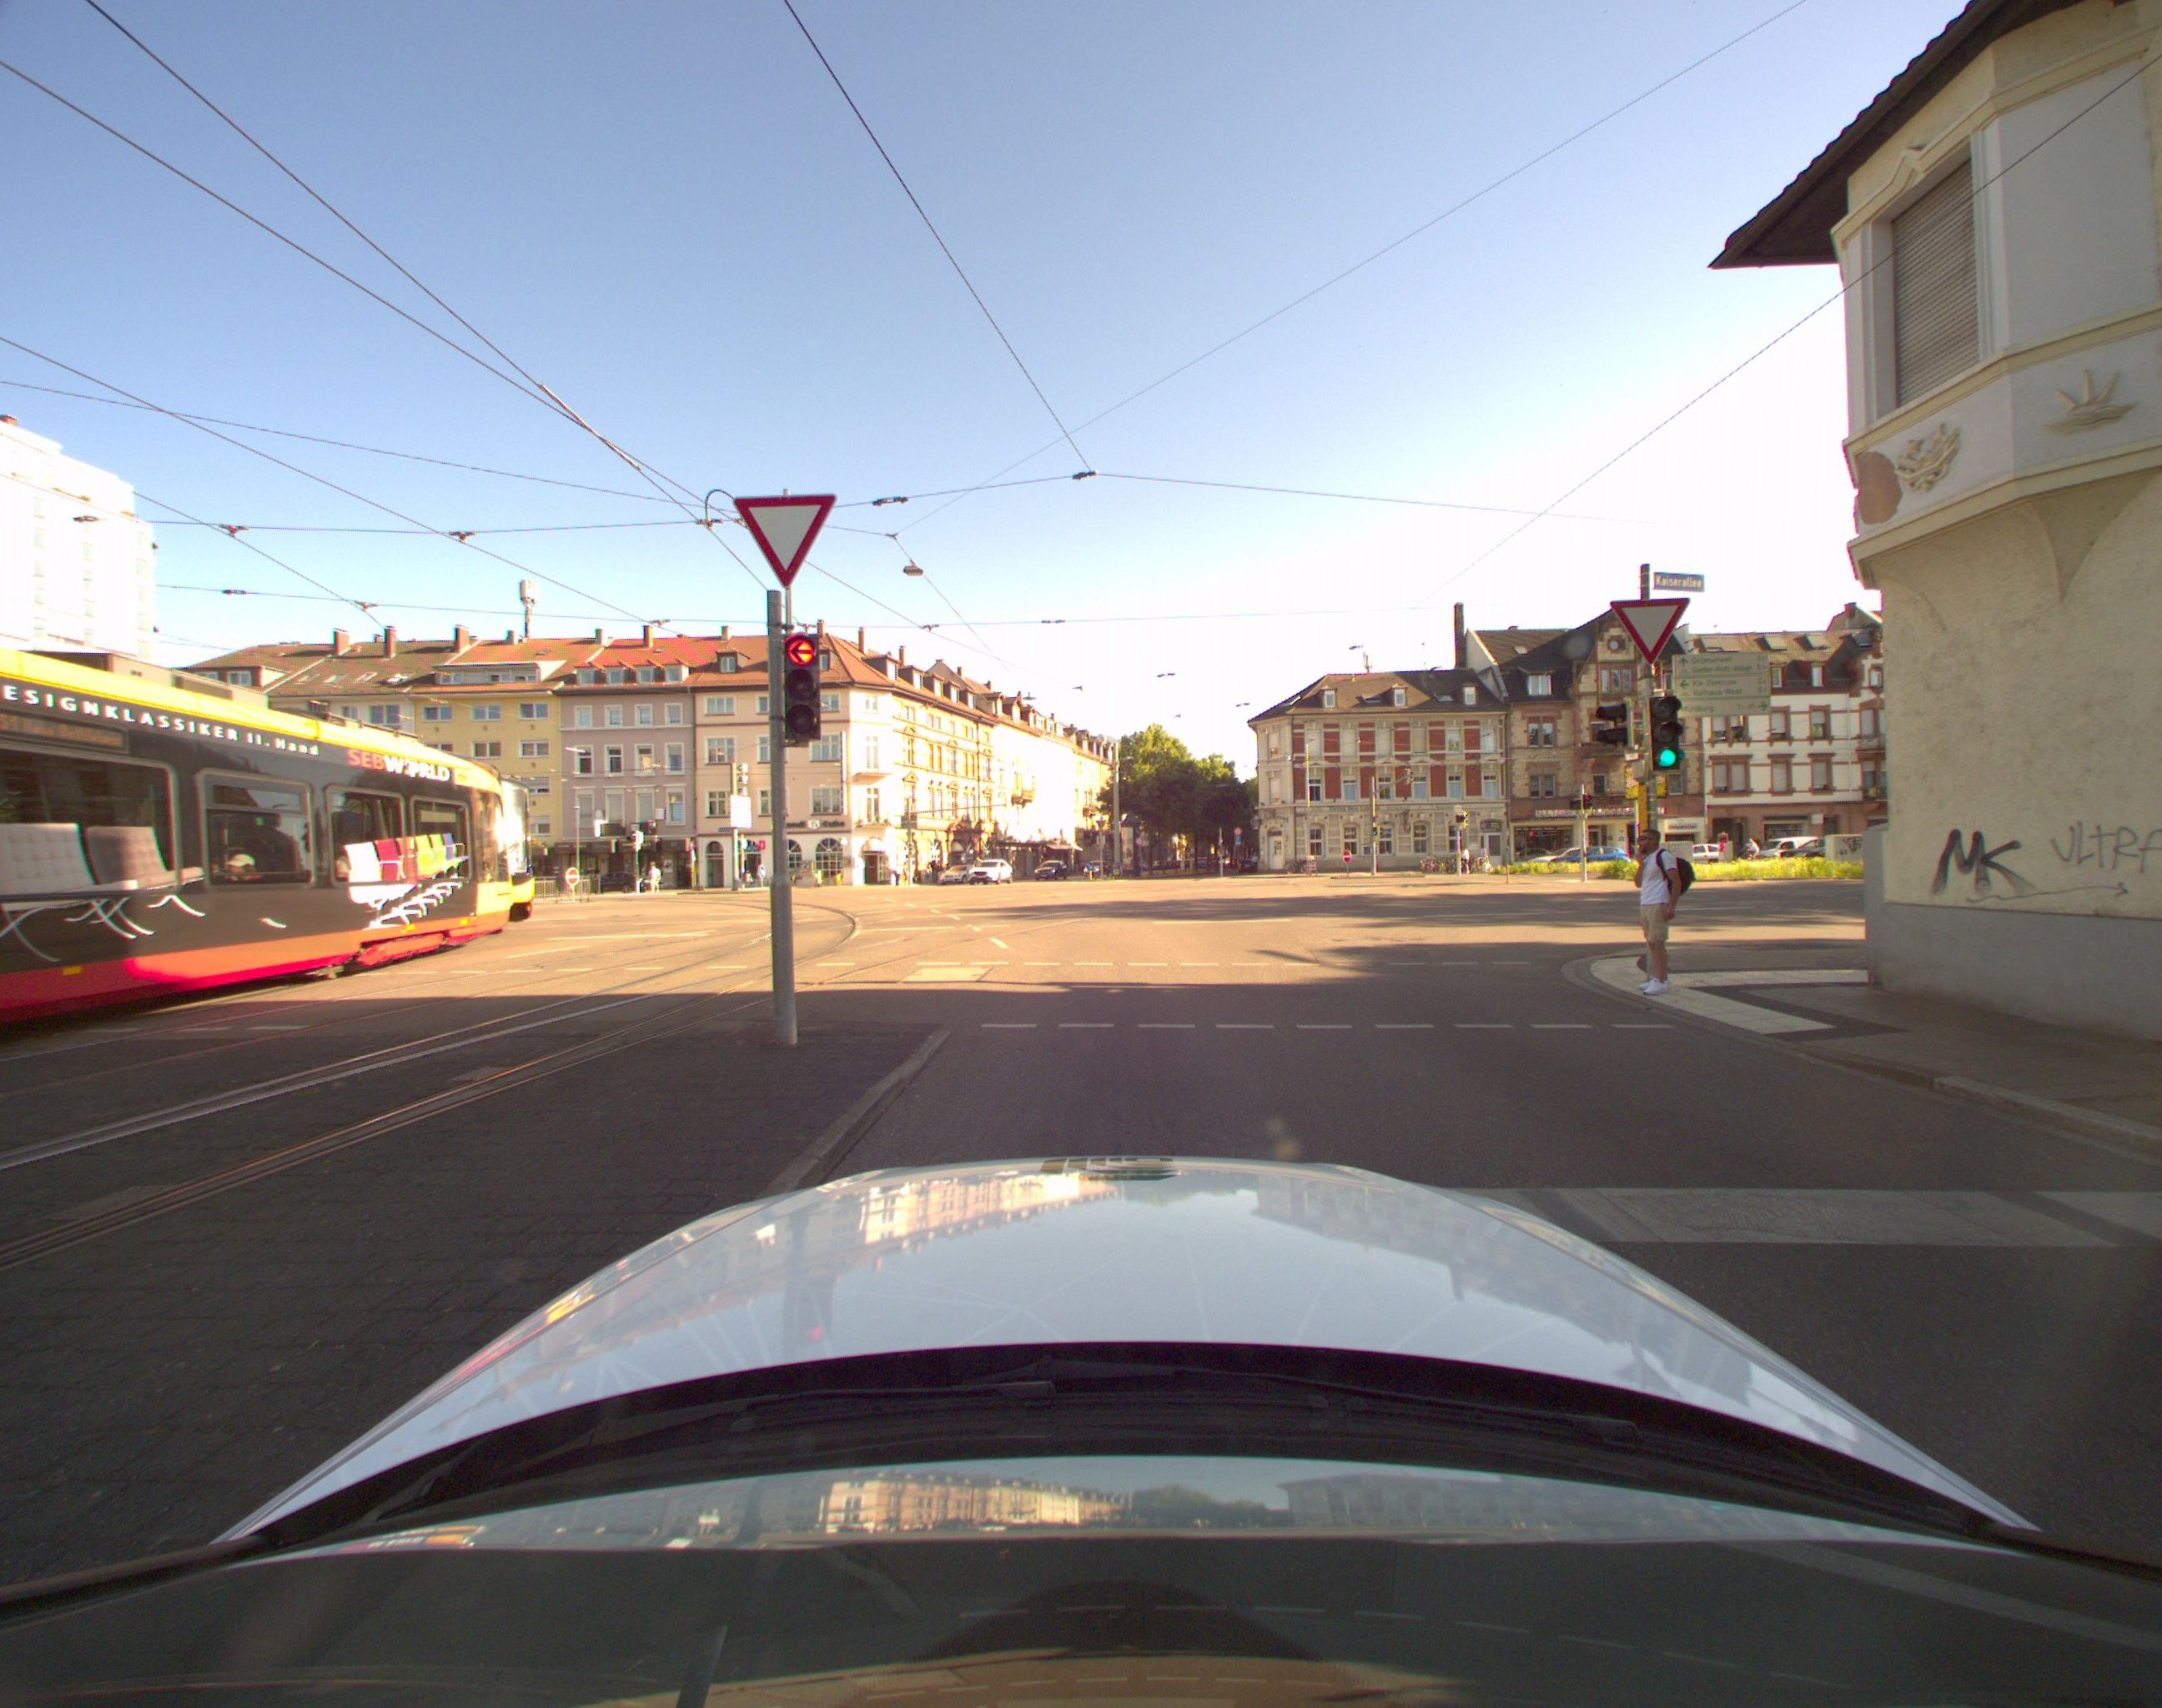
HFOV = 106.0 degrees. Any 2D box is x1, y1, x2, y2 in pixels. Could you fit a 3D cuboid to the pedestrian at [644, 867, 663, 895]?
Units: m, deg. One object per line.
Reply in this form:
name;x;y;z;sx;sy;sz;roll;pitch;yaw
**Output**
pedestrian;-25.429;1.575;48.478;0.720;1.627;0.674;-2;0;12

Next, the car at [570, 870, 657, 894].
car;-30.702;1.840;53.530;4.626;1.440;1.743;-1;-1;-1

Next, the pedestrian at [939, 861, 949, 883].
pedestrian;-10.655;1.411;63.405;0.532;1.642;0.554;-2;0;11

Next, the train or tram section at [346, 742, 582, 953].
train or tram section;-14.209;-0.056;19.885;3.075;3.613;11.997;-1;0;-30

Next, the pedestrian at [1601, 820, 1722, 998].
pedestrian;6.075;0.558;8.537;0.691;1.740;0.668;-4;-1;-28

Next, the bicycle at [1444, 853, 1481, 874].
bicycle;23.640;0.583;50.507;1.952;1.191;0.602;-2;0;4

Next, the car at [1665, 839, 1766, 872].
car;34.805;0.090;44.764;3.973;1.668;1.955;-2;0;1

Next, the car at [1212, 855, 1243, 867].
car;20.891;1.006;116.208;3.948;1.545;2.013;-2;0;32

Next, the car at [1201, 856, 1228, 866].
car;22.001;1.211;134.055;3.949;1.545;2.012;-2;0;30

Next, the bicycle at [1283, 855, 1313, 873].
bicycle;15.188;0.718;56.960;1.950;1.191;0.547;-2;0;6

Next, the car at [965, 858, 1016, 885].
car;-5.457;1.057;49.751;1.981;1.497;4.359;-2;0;9

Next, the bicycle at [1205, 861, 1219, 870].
bicycle;15.928;1.356;99.077;0.586;1.067;1.928;-1;0;-34

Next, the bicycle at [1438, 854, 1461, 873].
bicycle;23.847;0.622;52.760;0.674;1.191;1.969;-1;0;3

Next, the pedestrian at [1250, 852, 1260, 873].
pedestrian;14.143;0.720;66.030;0.710;1.669;0.943;-2;0;14

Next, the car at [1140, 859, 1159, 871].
car;9.904;1.584;117.304;1.978;1.497;4.051;-2;0;16

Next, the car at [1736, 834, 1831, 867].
car;45.235;-0.193;52.497;4.388;1.965;1.955;-2;0;1

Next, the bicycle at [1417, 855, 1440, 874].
bicycle;22.497;0.645;52.766;0.674;1.191;1.969;-1;0;3

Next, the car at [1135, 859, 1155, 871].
car;8.933;1.555;112.838;1.978;1.497;4.051;-2;0;16

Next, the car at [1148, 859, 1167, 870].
car;11.521;1.617;122.504;1.978;1.497;4.051;-2;0;16

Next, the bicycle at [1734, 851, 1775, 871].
bicycle;41.850;0.436;50.595;1.952;1.191;0.602;-2;0;4

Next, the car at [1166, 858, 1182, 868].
car;15.561;1.470;136.394;1.978;1.497;4.051;-2;0;16

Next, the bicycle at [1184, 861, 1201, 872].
bicycle;11.332;1.285;82.644;0.586;1.067;1.928;-1;0;-34

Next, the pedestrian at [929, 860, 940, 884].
pedestrian;-11.264;1.407;62.538;0.575;1.836;0.636;-2;0;18

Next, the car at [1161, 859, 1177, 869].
car;14.286;1.643;132.054;1.978;1.497;4.051;-2;0;16

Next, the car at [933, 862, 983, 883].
car;-8.960;1.336;59.729;1.978;1.355;4.240;-2;0;16

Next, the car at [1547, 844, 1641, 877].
car;28.317;0.337;45.029;3.973;1.668;1.955;-2;0;1

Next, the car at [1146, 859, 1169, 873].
car;9.176;1.429;97.294;1.978;1.497;4.051;-2;0;16

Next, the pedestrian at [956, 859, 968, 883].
pedestrian;-9.825;1.399;67.313;0.676;1.908;0.636;-2;0;18

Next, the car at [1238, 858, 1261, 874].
car;17.015;1.148;82.166;1.978;1.497;4.051;-2;0;16

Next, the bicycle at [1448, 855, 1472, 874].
bicycle;24.522;0.695;52.736;0.674;1.191;1.969;-1;0;3

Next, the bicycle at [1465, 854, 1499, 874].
bicycle;25.744;0.638;52.308;1.961;1.191;0.677;-1;0;-10

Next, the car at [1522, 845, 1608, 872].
car;28.510;0.259;48.022;3.973;1.412;1.846;-2;0;1

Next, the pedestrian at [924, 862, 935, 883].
pedestrian;-11.742;1.416;63.010;0.626;1.642;0.554;-2;0;15

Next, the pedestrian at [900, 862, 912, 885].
pedestrian;-12.413;1.378;57.683;0.626;1.642;0.554;-2;0;15

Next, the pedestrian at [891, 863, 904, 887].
pedestrian;-12.701;1.422;56.415;0.670;1.642;0.581;-2;0;15

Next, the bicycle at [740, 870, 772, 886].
bicycle;-22.808;1.694;57.192;1.940;1.067;0.582;-1;0;-6

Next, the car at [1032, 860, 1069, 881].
car;-2.326;1.244;64.164;1.762;1.497;4.589;-2;0;12

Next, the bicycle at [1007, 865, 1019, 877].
bicycle;-6.709;1.678;79.869;0.491;1.067;1.778;-2;0;18

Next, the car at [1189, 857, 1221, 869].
car;17.528;1.240;115.427;3.949;1.545;2.012;-2;0;30

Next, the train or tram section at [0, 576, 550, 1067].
train or tram section;-10.232;-0.183;9.160;3.058;3.613;12.060;-1;0;-13

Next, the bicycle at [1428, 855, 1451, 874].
bicycle;23.199;0.655;52.775;0.674;1.191;1.969;-1;0;3

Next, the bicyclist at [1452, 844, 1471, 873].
bicyclist;23.593;0.296;50.506;0.869;1.764;0.602;-1;0;4

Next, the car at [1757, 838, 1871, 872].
car;40.139;0.050;44.696;4.456;1.668;1.955;-2;0;1

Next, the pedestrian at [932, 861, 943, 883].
pedestrian;-11.197;1.416;63.505;0.623;1.642;0.539;-2;0;10

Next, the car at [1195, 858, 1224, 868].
car;20.201;1.444;128.009;3.949;1.545;2.012;-2;0;30

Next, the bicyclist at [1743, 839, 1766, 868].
bicyclist;41.848;-0.042;50.599;0.899;1.764;0.602;-1;0;4

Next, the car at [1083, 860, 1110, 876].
car;1.491;1.324;77.787;1.705;1.497;3.599;-2;0;16
